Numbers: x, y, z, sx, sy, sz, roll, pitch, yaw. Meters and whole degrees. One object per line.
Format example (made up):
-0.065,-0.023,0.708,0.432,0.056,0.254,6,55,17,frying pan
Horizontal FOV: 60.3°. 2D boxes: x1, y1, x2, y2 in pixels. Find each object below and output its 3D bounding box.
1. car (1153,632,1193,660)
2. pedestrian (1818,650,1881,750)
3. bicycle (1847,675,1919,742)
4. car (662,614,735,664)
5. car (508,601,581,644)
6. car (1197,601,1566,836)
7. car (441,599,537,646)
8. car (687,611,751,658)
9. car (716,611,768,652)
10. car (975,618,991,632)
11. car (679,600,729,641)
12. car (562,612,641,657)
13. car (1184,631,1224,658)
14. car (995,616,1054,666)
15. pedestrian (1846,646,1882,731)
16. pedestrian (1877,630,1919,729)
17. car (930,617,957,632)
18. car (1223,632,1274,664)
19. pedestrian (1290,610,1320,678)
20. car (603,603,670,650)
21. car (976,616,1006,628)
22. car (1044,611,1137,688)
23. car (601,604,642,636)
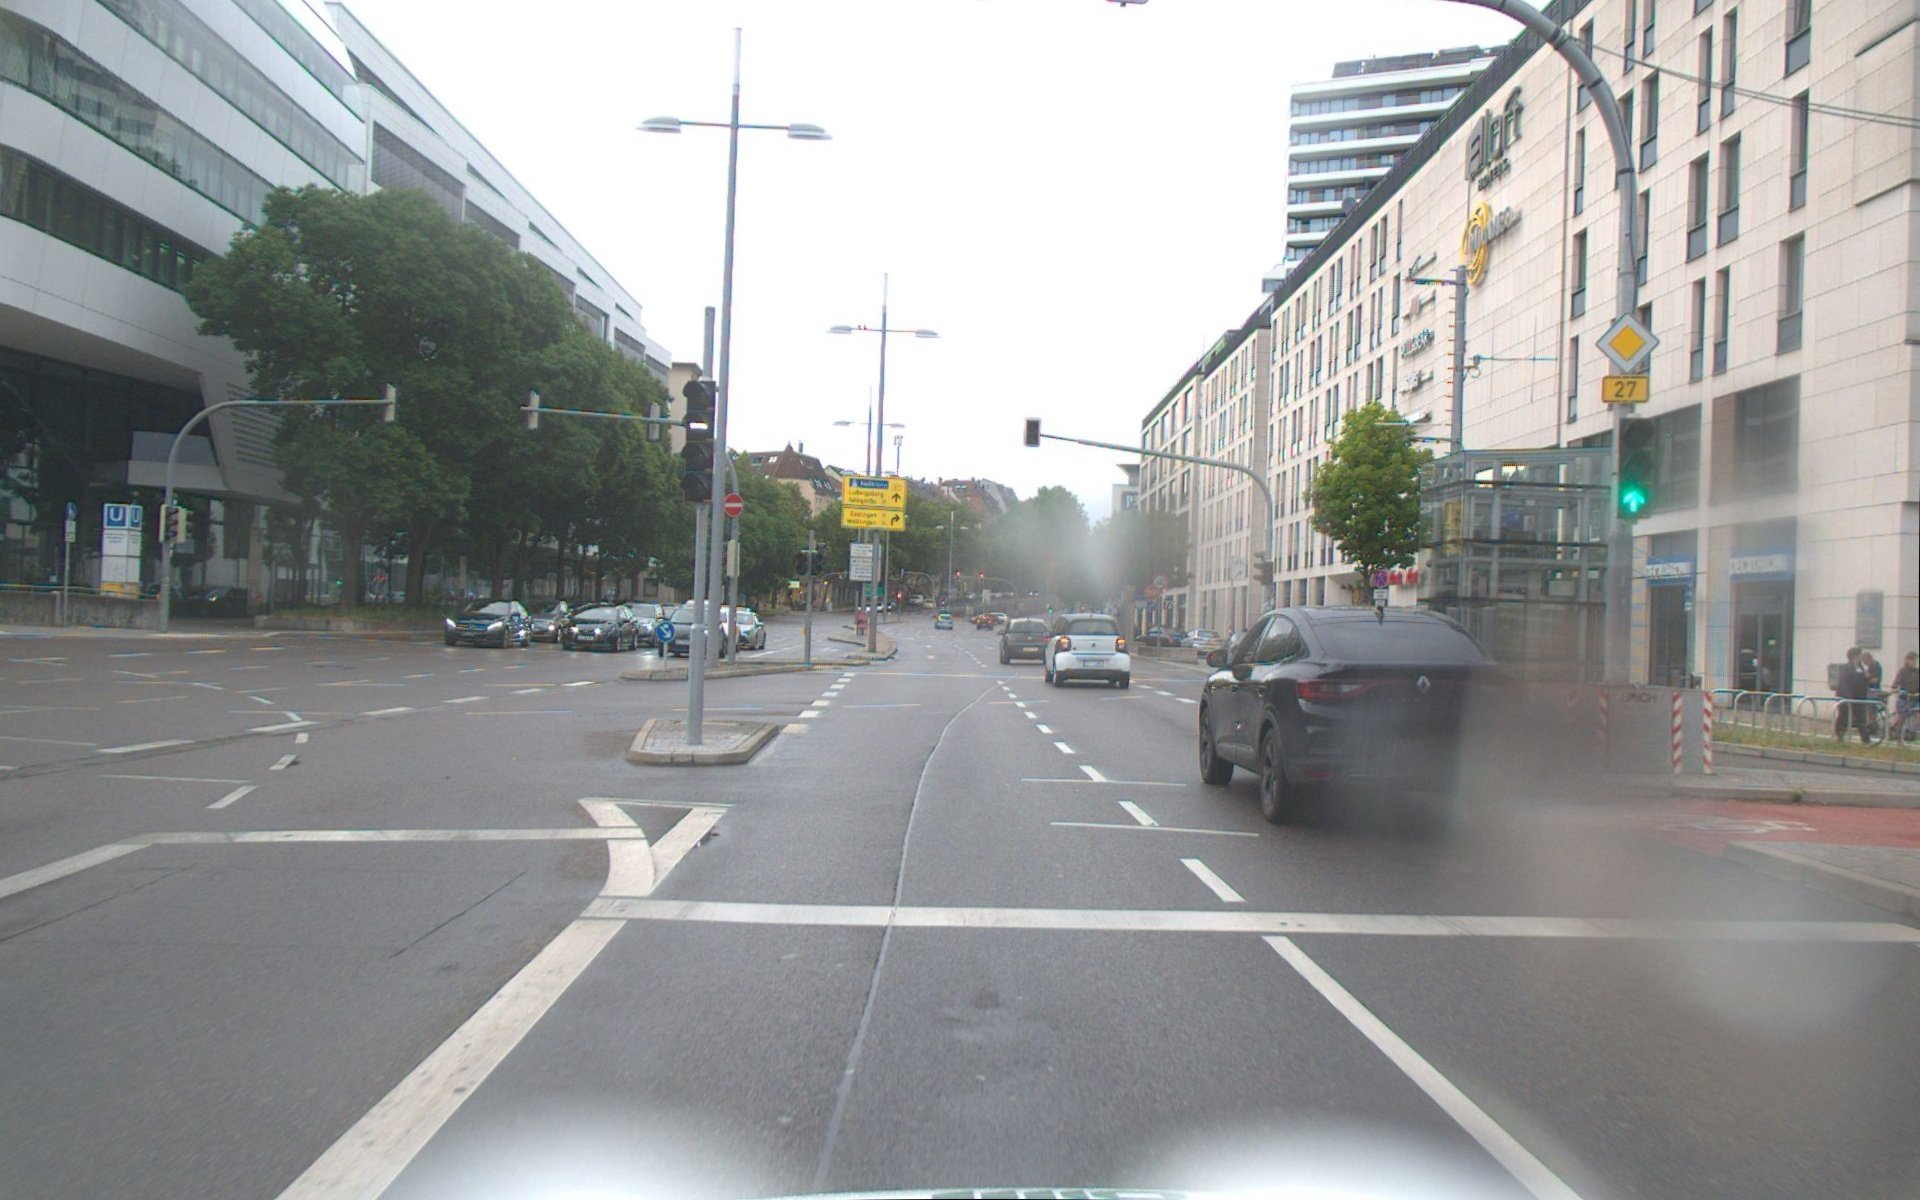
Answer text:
11.504,2.484,89.466,1.627,1.425,3.831,1,-1,-1,car
14.870,1.661,27.656,0.600,1.639,0.818,1,-1,-1,pedestrian
15.540,1.804,27.676,0.440,1.034,1.742,1,-1,0,bicycle
-8.040,1.213,51.131,1.708,1.470,3.394,1,-1,-1,car
-14.758,0.827,58.938,1.708,1.449,3.538,1,-1,-1,car
3.115,0.788,13.164,1.754,1.533,4.338,1,0,-1,car
-14.298,0.694,50.428,1.708,1.352,4.224,1,-1,-1,car
-8.478,1.229,58.431,1.668,1.586,4.243,1,-1,-1,car
-8.312,1.208,63.246,1.507,1.503,3.695,1,-1,-1,car
2.653,2.906,190.212,1.704,1.558,3.813,1,-1,-1,car
-11.589,0.962,74.979,1.708,1.779,3.538,1,-1,-1,car
-11.255,1.076,52.171,1.708,1.279,3.539,2,0,-1,car
12.342,2.242,83.914,1.475,1.288,3.501,1,-1,-1,car
2.074,1.346,54.154,1.704,1.558,3.813,1,-1,-1,car
17.975,1.749,32.888,0.581,1.671,0.587,0,-2,24,pedestrian
15.830,1.322,27.707,0.539,1.639,0.698,1,-2,-1,pedestrian
-1.807,2.601,178.468,1.714,1.558,3.792,1,0,-20,car
12.212,2.030,70.123,1.475,1.288,3.501,1,-1,-1,car
9.576,1.213,45.884,0.712,1.865,0.510,1,-2,-1,pedestrian
-11.544,0.967,59.138,1.708,1.586,3.538,1,-1,-1,car
4.175,2.997,225.199,3.736,1.558,1.740,1,0,-13,car
2.818,1.072,36.373,1.689,1.558,3.813,1,-1,-1,car
-19.901,1.185,97.284,1.708,1.779,3.538,1,-1,-1,car
